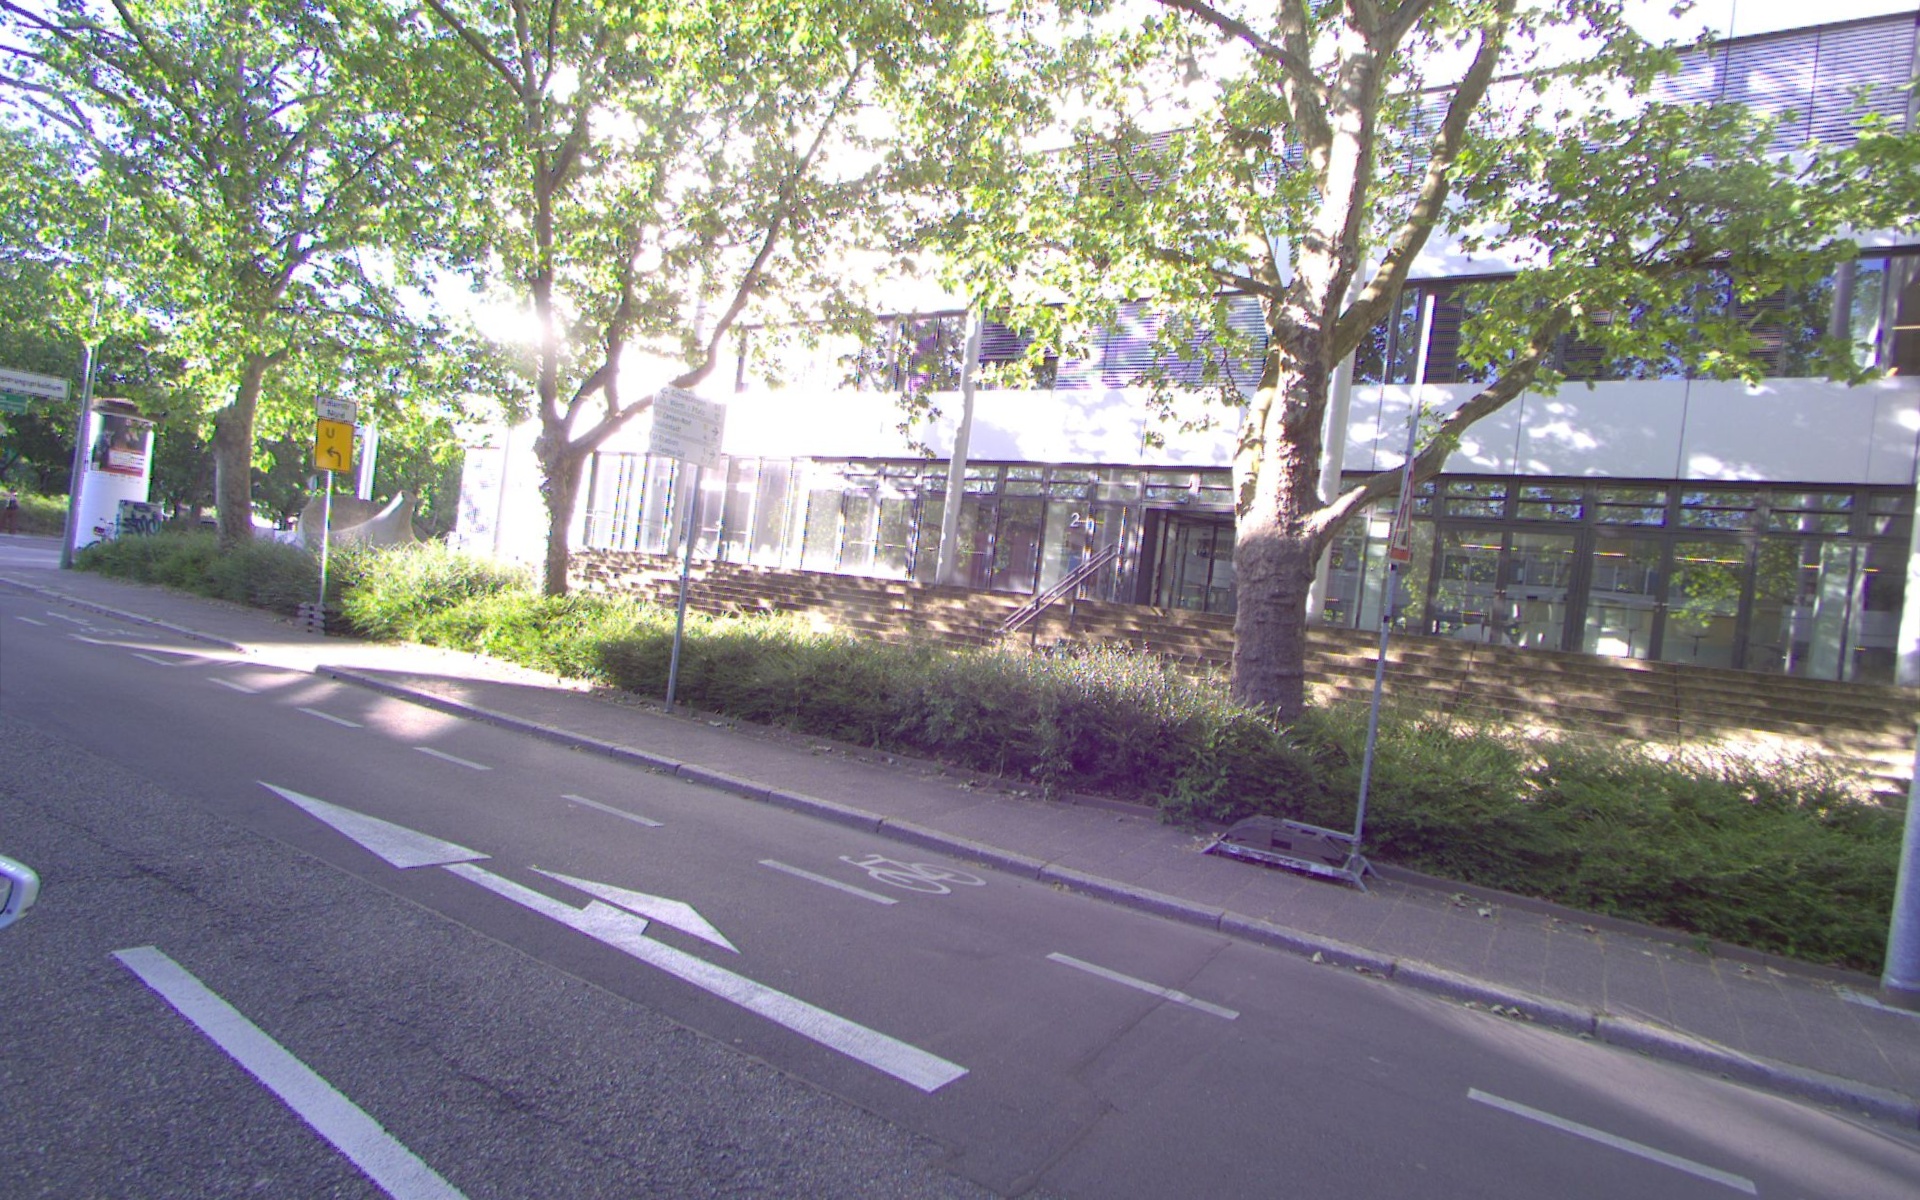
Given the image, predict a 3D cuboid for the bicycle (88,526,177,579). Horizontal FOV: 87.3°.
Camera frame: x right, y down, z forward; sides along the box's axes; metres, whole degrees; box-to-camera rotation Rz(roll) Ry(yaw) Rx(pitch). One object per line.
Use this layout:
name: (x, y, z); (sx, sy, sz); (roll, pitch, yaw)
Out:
bicycle: (-19.041, -1.073, 23.177); (0.295, 0.991, 1.484); (6, -2, 37)

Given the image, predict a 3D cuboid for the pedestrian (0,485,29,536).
pedestrian: (-36.230, -3.406, 38.435); (0.672, 1.793, 0.613); (8, -1, -29)
